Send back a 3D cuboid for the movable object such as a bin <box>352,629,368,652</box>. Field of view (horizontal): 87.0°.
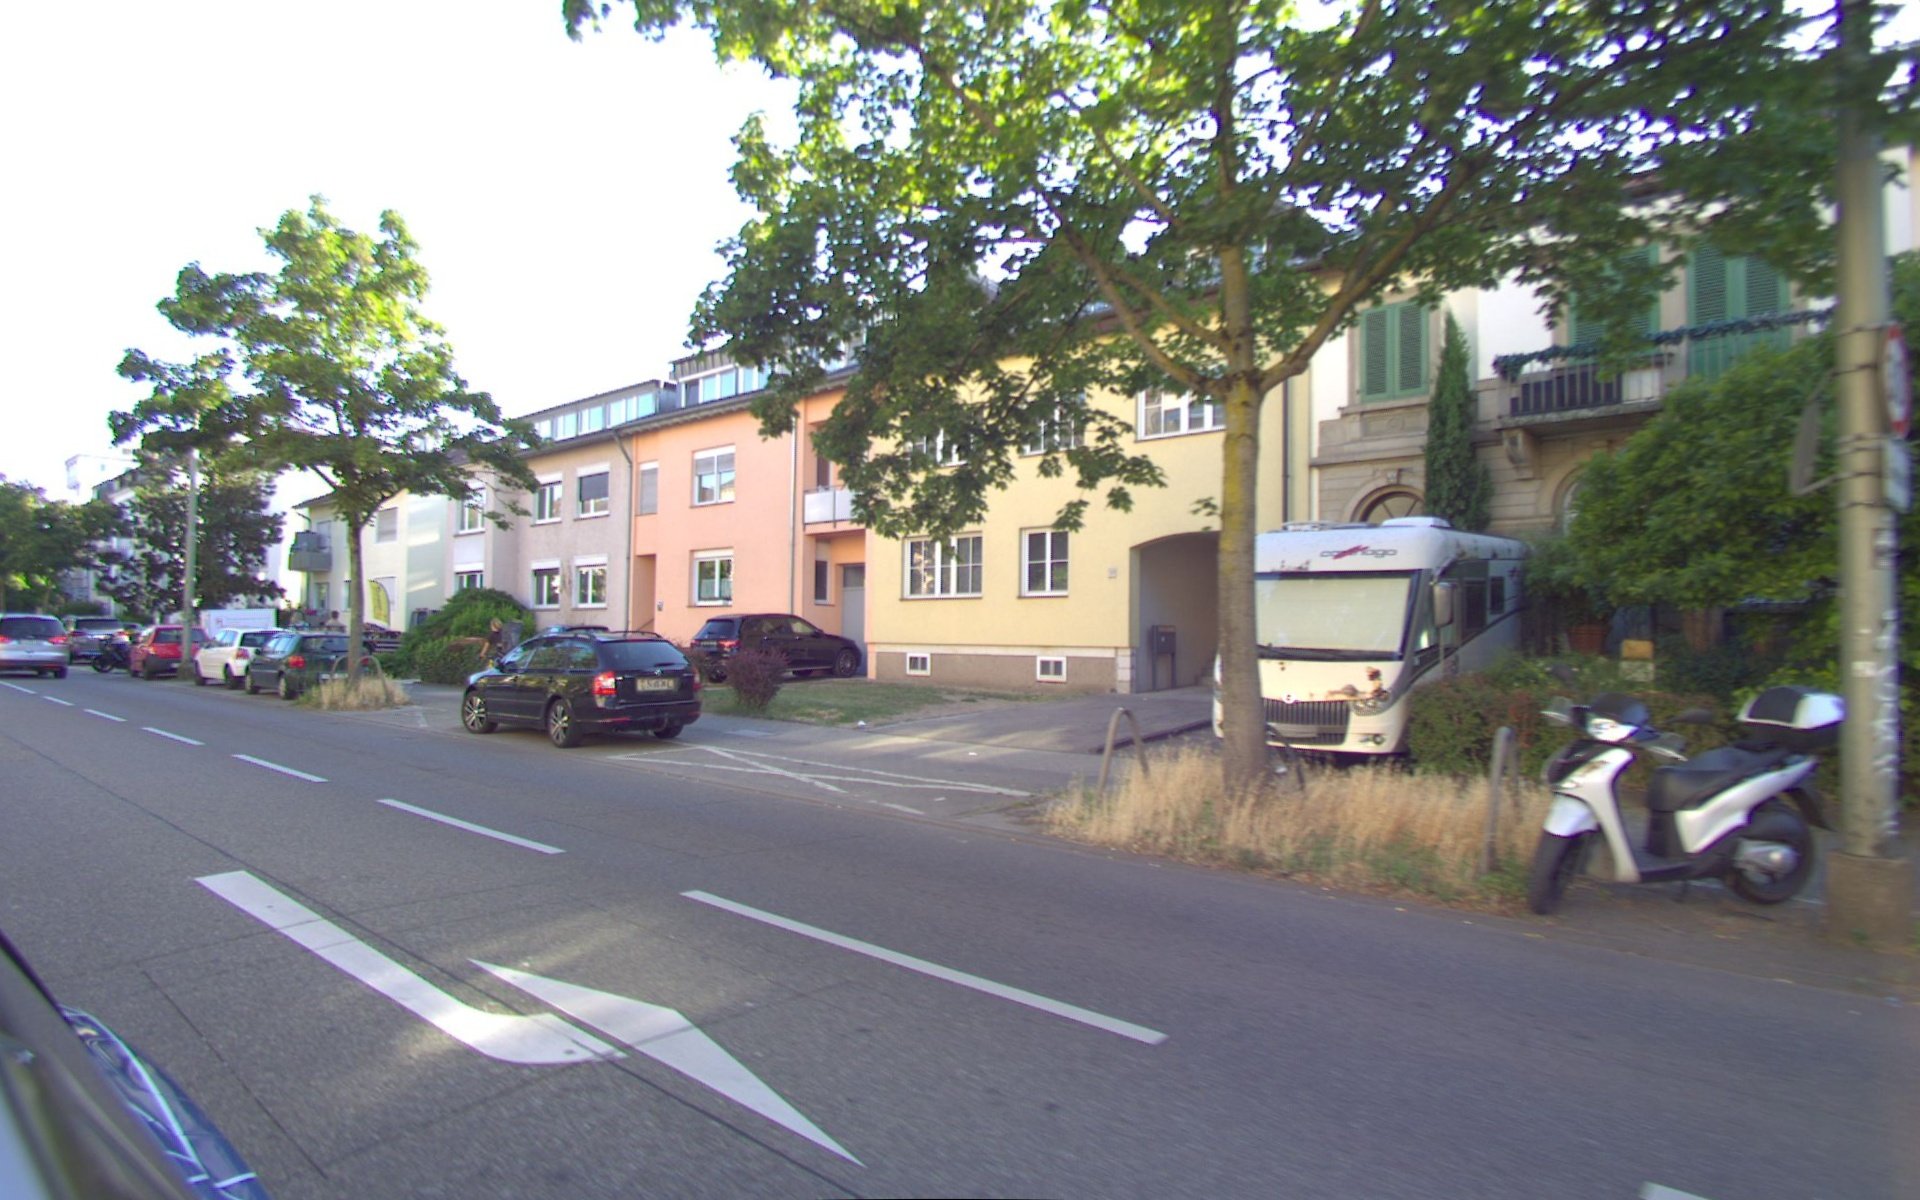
[{"bbox_3d":[-27.531,1.863,46.422,0.449,1.026,0.498,-1,-3,40],"label":"movable object such as a bin"}]

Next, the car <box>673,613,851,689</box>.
[{"bbox_3d":[-4.733,1.169,24.631,1.865,1.648,3.945,-1,-1,41],"label":"car"}]

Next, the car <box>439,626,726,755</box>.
[{"bbox_3d":[-5.410,1.134,14.212,4.514,1.506,1.848,-1,-1,41],"label":"car"}]

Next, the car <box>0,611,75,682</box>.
[{"bbox_3d":[-26.159,1.278,27.975,4.742,1.818,1.787,-1,-4,40],"label":"car"}]

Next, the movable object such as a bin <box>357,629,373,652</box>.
[{"bbox_3d":[-27.100,1.855,46.110,0.449,1.026,0.498,-1,-3,40],"label":"movable object such as a bin"}]

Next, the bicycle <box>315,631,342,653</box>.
[{"bbox_3d":[-31.236,2.083,50.044,2.044,1.072,0.514,-1,-3,40],"label":"bicycle"}]

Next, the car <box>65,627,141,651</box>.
[{"bbox_3d":[-54.443,2.485,64.316,1.685,1.535,3.422,-2,-3,41],"label":"car"}]

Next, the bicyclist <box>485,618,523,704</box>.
[{"bbox_3d":[-9.102,1.204,20.196,0.552,1.676,0.464,-1,-3,40],"label":"bicyclist"}]

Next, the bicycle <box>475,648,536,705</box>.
[{"bbox_3d":[-9.102,1.516,20.262,1.533,1.072,0.481,-1,-3,40],"label":"bicycle"}]

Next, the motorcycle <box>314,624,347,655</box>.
[{"bbox_3d":[-29.061,1.819,46.723,2.257,1.384,0.564,-1,-4,40],"label":"motorcycle"}]

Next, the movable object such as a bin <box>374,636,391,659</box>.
[{"bbox_3d":[-25.529,2.094,44.722,0.449,1.026,0.498,-1,-3,40],"label":"movable object such as a bin"}]

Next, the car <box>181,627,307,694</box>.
[{"bbox_3d":[-17.912,1.464,25.260,3.887,1.535,1.577,-1,-3,40],"label":"car"}]

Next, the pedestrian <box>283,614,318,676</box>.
[{"bbox_3d":[-19.464,1.332,29.858,0.506,1.806,0.706,-2,-3,43],"label":"pedestrian"}]

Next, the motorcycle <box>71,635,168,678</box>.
[{"bbox_3d":[-26.042,1.734,31.358,2.349,1.276,1.176,0,-3,17],"label":"motorcycle"}]

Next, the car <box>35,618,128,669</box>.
[{"bbox_3d":[-33.314,1.615,38.339,4.721,1.793,1.868,-1,-3,39],"label":"car"}]

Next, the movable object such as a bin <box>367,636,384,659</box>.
[{"bbox_3d":[-26.046,2.104,45.112,0.449,1.026,0.498,-1,-3,40],"label":"movable object such as a bin"}]

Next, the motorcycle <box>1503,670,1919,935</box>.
[{"bbox_3d":[4.148,1.041,5.539,2.021,1.274,0.769,1,-3,-11],"label":"motorcycle"}]

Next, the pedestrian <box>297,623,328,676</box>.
[{"bbox_3d":[-18.593,1.410,29.046,0.542,1.507,0.583,-2,-3,43],"label":"pedestrian"}]

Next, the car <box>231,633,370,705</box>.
[{"bbox_3d":[-14.345,1.439,21.961,3.663,1.407,1.527,-1,-3,40],"label":"car"}]

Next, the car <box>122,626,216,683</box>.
[{"bbox_3d":[-22.614,1.511,28.885,3.436,1.535,1.575,-1,-3,43],"label":"car"}]

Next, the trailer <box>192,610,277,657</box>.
[{"bbox_3d":[-32.592,1.511,45.507,1.550,2.029,2.746,-1,-3,38],"label":"trailer"}]

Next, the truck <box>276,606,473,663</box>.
[{"bbox_3d":[-24.549,1.476,42.754,2.275,2.202,6.824,-1,-3,40],"label":"truck"}]

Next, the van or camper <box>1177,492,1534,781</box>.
[{"bbox_3d":[5.469,0.355,13.160,2.350,2.794,6.730,-1,-1,39],"label":"van or camper"}]

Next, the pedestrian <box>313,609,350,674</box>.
[{"bbox_3d":[-17.588,1.161,28.311,0.572,1.806,0.706,-2,-3,43],"label":"pedestrian"}]

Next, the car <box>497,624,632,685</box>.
[{"bbox_3d":[-10.024,1.358,25.559,3.752,1.420,1.647,-1,-4,42],"label":"car"}]

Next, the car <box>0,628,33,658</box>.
[{"bbox_3d":[-47.335,2.108,50.061,4.440,1.418,1.620,-1,-3,40],"label":"car"}]
